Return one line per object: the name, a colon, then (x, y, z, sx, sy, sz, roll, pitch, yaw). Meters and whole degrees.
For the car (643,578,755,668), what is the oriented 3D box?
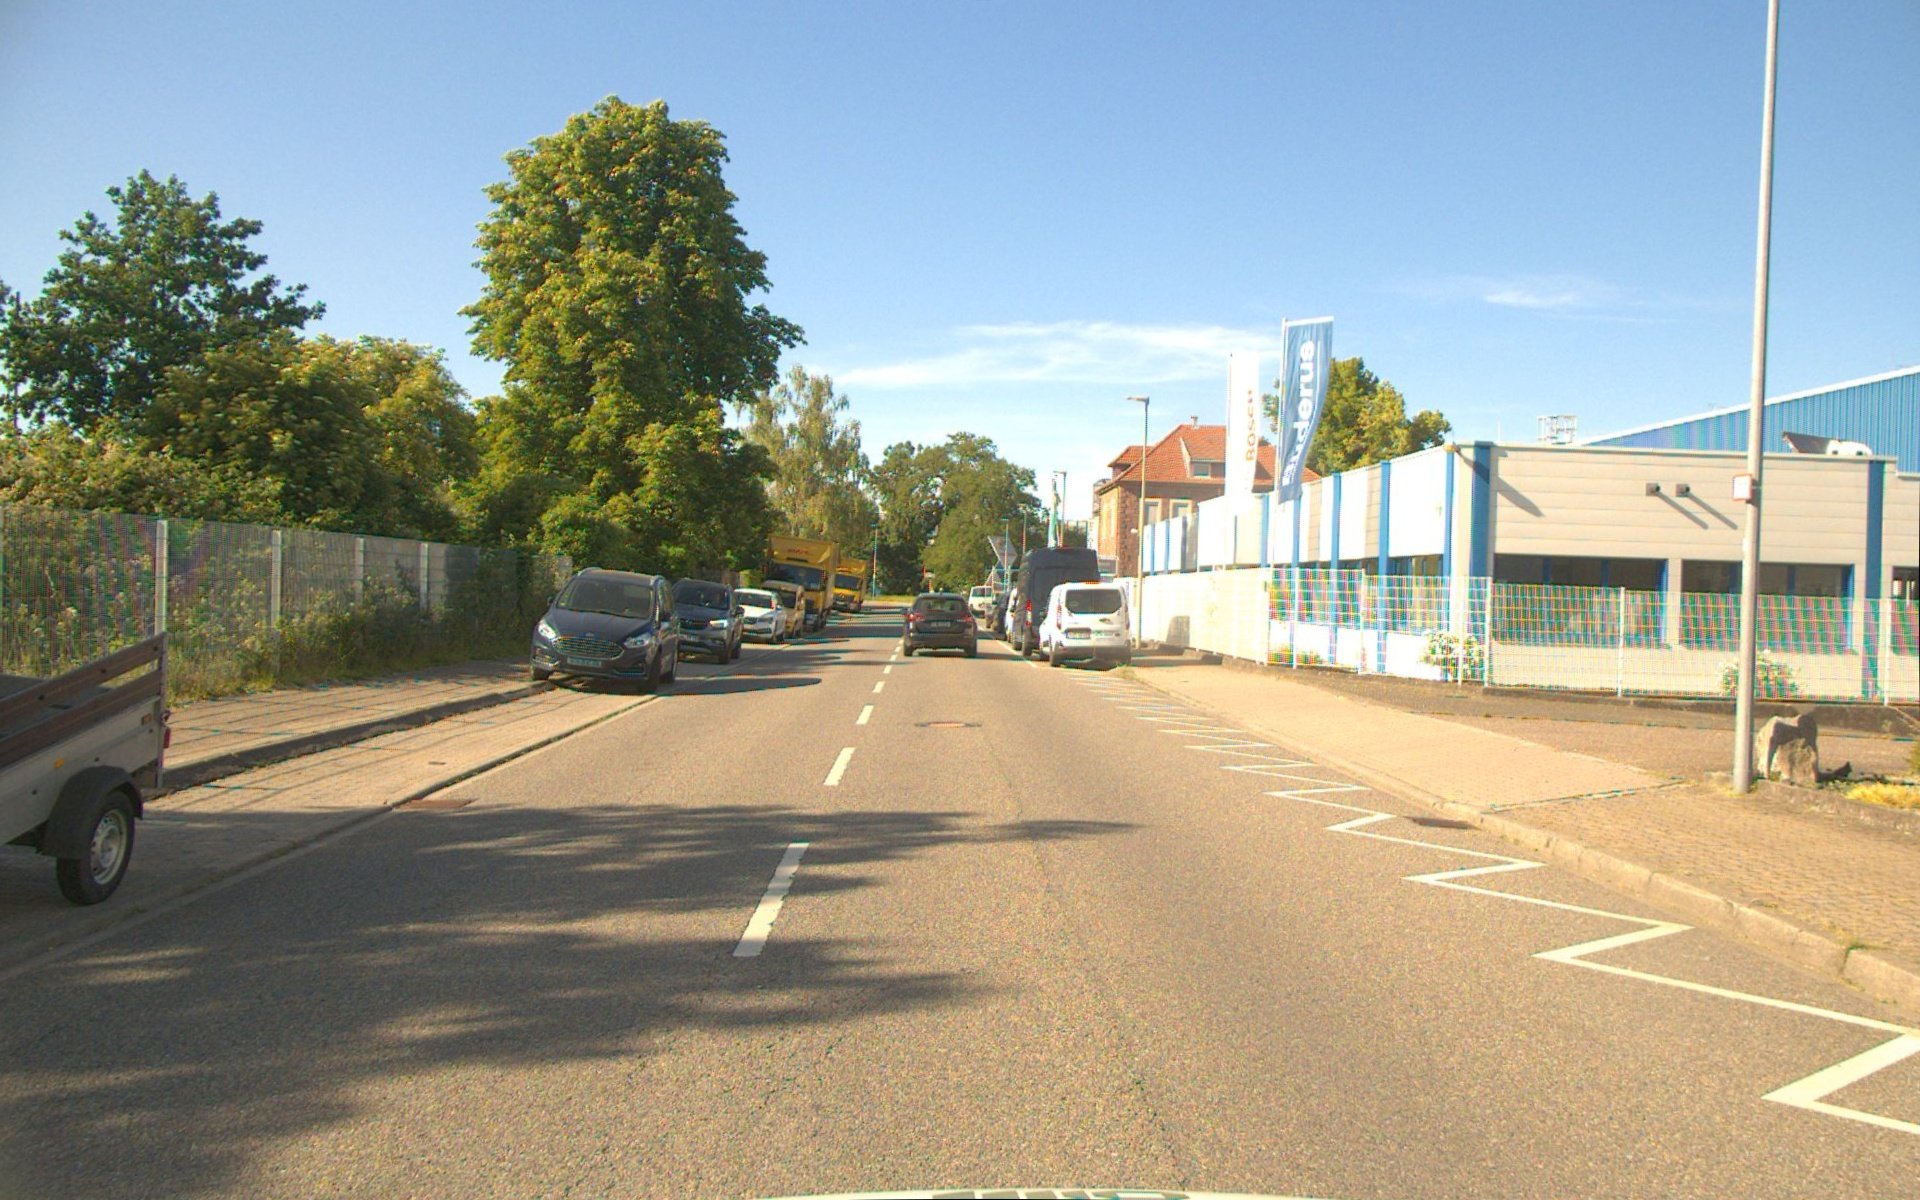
car: (-5.713, 0.445, 36.707, 1.871, 1.691, 4.461, 6, 0, -3)

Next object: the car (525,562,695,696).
car: (-5.356, 0.388, 25.908, 1.756, 1.760, 4.799, 5, 0, -3)

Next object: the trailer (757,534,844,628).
trailer: (-6.344, -0.741, 66.901, 2.931, 3.503, 8.158, 1, 0, -2)

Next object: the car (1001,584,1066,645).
car: (2.419, 0.472, 55.724, 1.818, 1.862, 5.167, 3, 0, -1)

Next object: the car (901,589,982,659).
car: (-0.423, 0.539, 39.724, 1.809, 1.556, 4.000, 1, 1, 0)

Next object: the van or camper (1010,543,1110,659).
van or camper: (2.602, 0.027, 44.491, 2.097, 2.807, 6.160, 3, 0, -1)

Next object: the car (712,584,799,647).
car: (-6.132, 0.424, 50.072, 1.870, 1.620, 5.025, 6, 0, 0)

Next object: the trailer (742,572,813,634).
trailer: (-6.130, 0.079, 55.998, 1.953, 1.975, 4.414, 1, 0, -1)

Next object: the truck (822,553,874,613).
truck: (-7.426, -1.215, 110.481, 2.580, 3.563, 8.656, 7, 1, -1)

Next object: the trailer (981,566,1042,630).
trailer: (2.277, -0.096, 74.510, 2.410, 2.719, 5.700, 1, 0, -1)

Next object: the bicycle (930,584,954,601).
bicycle: (-1.475, -0.580, 135.059, 0.797, 1.290, 2.231, 3, 0, -35)

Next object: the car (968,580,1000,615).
car: (1.486, -0.170, 104.547, 1.836, 2.048, 5.160, 3, 0, -1)

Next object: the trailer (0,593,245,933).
trailer: (-4.805, 0.691, 7.851, 1.447, 1.377, 3.078, 3, 0, -1)

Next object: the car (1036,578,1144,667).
car: (2.901, 0.479, 38.057, 1.848, 1.829, 5.102, 3, 0, -2)
